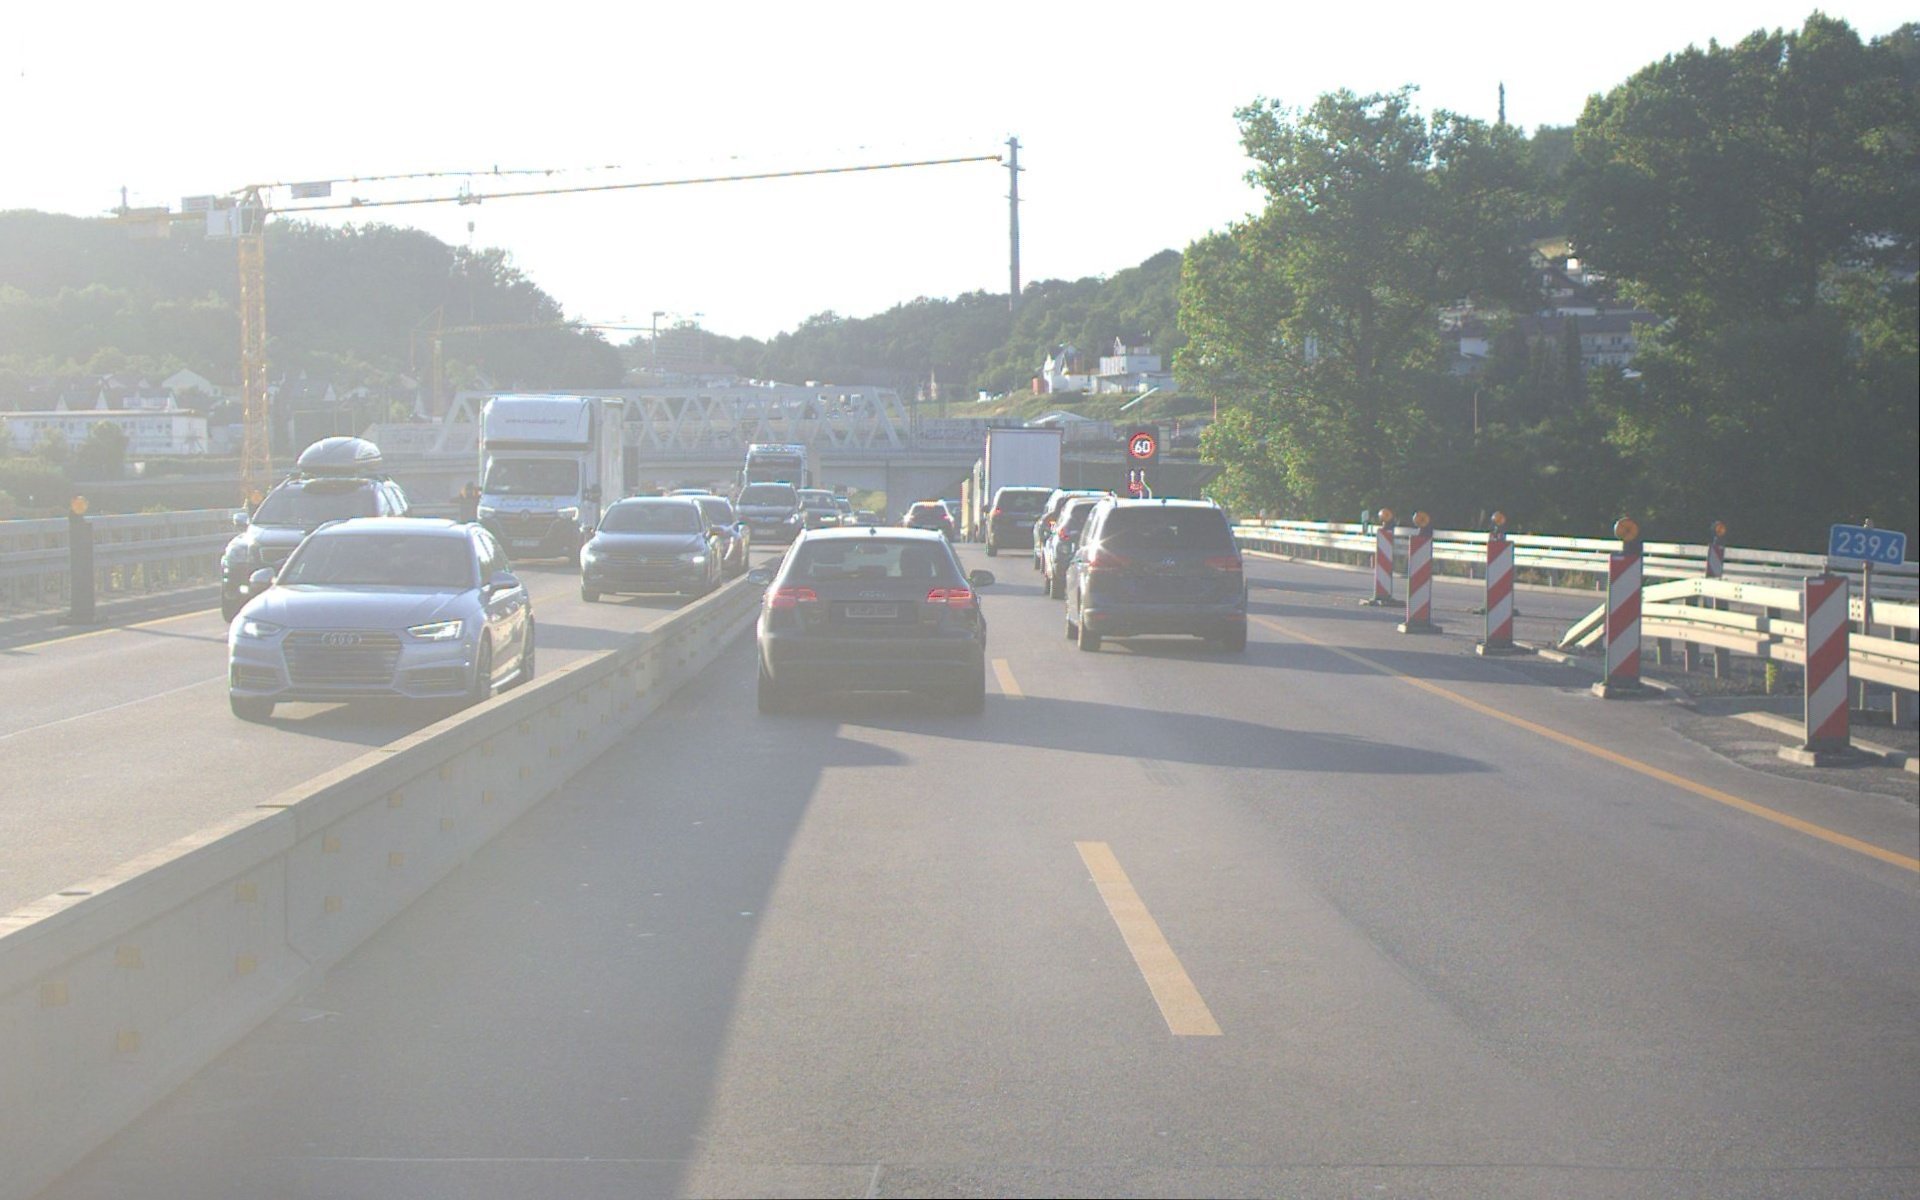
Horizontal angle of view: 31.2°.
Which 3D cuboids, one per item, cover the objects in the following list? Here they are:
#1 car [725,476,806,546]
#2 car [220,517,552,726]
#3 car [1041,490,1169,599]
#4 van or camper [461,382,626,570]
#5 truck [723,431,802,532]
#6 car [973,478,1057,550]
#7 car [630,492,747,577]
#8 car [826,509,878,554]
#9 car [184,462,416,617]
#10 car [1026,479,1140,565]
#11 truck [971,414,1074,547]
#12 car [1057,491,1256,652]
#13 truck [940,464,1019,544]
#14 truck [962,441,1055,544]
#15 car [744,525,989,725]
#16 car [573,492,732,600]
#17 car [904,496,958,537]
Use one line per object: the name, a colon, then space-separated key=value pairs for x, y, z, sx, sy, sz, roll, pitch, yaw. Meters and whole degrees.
car: x=-4.686 y=-2.159 z=83.361 sx=1.827 sy=1.634 sz=4.531 roll=0 pitch=2 yaw=-2
car: x=-4.261 y=0.114 z=26.130 sx=1.861 sy=1.427 sz=4.155 roll=1 pitch=1 yaw=-1
car: x=2.207 y=-0.882 z=53.115 sx=1.774 sy=1.580 sz=4.135 roll=1 pitch=1 yaw=0
van or camper: x=-8.172 y=-2.446 z=68.227 sx=2.457 sy=3.486 sz=7.414 roll=1 pitch=2 yaw=-1
truck: x=-8.012 y=-4.798 z=140.006 sx=2.814 sy=4.034 sz=5.672 roll=0 pitch=1 yaw=1
car: x=1.288 y=-2.024 z=81.833 sx=1.814 sy=1.626 sz=4.411 roll=1 pitch=1 yaw=-1
car: x=-4.843 y=-1.204 z=61.864 sx=1.815 sy=1.458 sz=4.706 roll=1 pitch=2 yaw=-1
car: x=-3.782 y=-2.392 z=120.179 sx=1.766 sy=1.529 sz=4.001 roll=1 pitch=1 yaw=-2
car: x=-8.018 y=-0.744 z=42.149 sx=1.993 sy=1.758 sz=4.441 roll=1 pitch=1 yaw=0
car: x=2.342 y=-1.478 z=66.557 sx=1.875 sy=1.594 sz=4.966 roll=0 pitch=1 yaw=-2
truck: x=2.185 y=-4.489 z=126.014 sx=3.385 sy=4.482 sz=15.269 roll=1 pitch=3 yaw=0
car: x=2.091 y=-0.367 z=37.670 sx=1.812 sy=1.609 sz=4.527 roll=0 pitch=2 yaw=-1
truck: x=1.061 y=-5.759 z=204.646 sx=3.890 sy=4.482 sz=13.850 roll=1 pitch=2 yaw=-3
truck: x=2.153 y=-5.009 z=160.467 sx=3.890 sy=4.482 sz=15.269 roll=1 pitch=2 yaw=-1
car: x=-0.758 y=0.139 z=27.201 sx=1.770 sy=1.385 sz=4.001 roll=1 pitch=2 yaw=-2
car: x=-4.415 y=-0.787 z=49.920 sx=1.815 sy=1.458 sz=4.706 roll=1 pitch=1 yaw=0
car: x=-1.047 y=-3.002 z=123.804 sx=1.863 sy=1.415 sz=4.000 roll=2 pitch=1 yaw=-1
